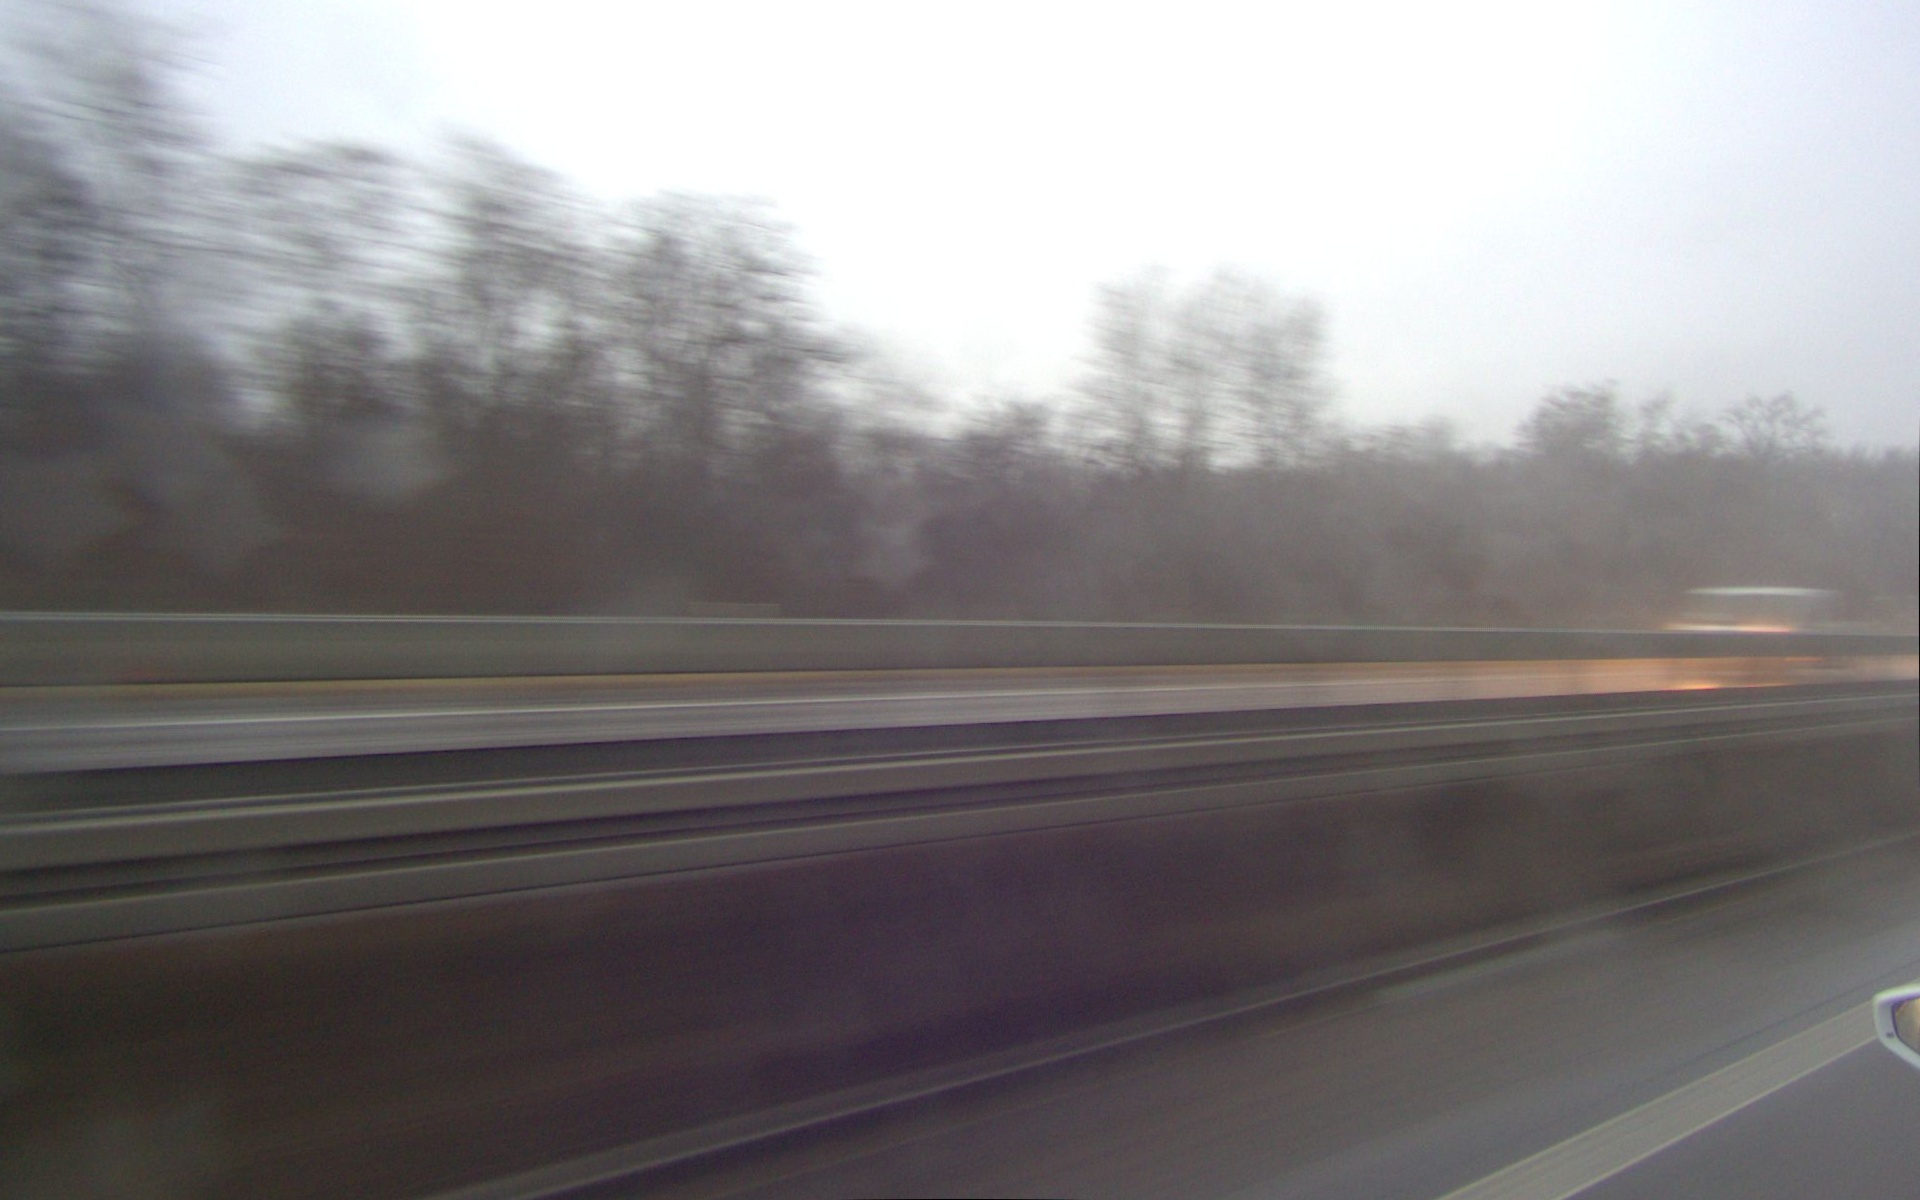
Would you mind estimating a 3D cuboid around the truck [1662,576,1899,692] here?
[{"bbox_3d":[20.779,0.869,25.333,6.996,2.575,2.242,2,1,-31],"label":"truck"}]
